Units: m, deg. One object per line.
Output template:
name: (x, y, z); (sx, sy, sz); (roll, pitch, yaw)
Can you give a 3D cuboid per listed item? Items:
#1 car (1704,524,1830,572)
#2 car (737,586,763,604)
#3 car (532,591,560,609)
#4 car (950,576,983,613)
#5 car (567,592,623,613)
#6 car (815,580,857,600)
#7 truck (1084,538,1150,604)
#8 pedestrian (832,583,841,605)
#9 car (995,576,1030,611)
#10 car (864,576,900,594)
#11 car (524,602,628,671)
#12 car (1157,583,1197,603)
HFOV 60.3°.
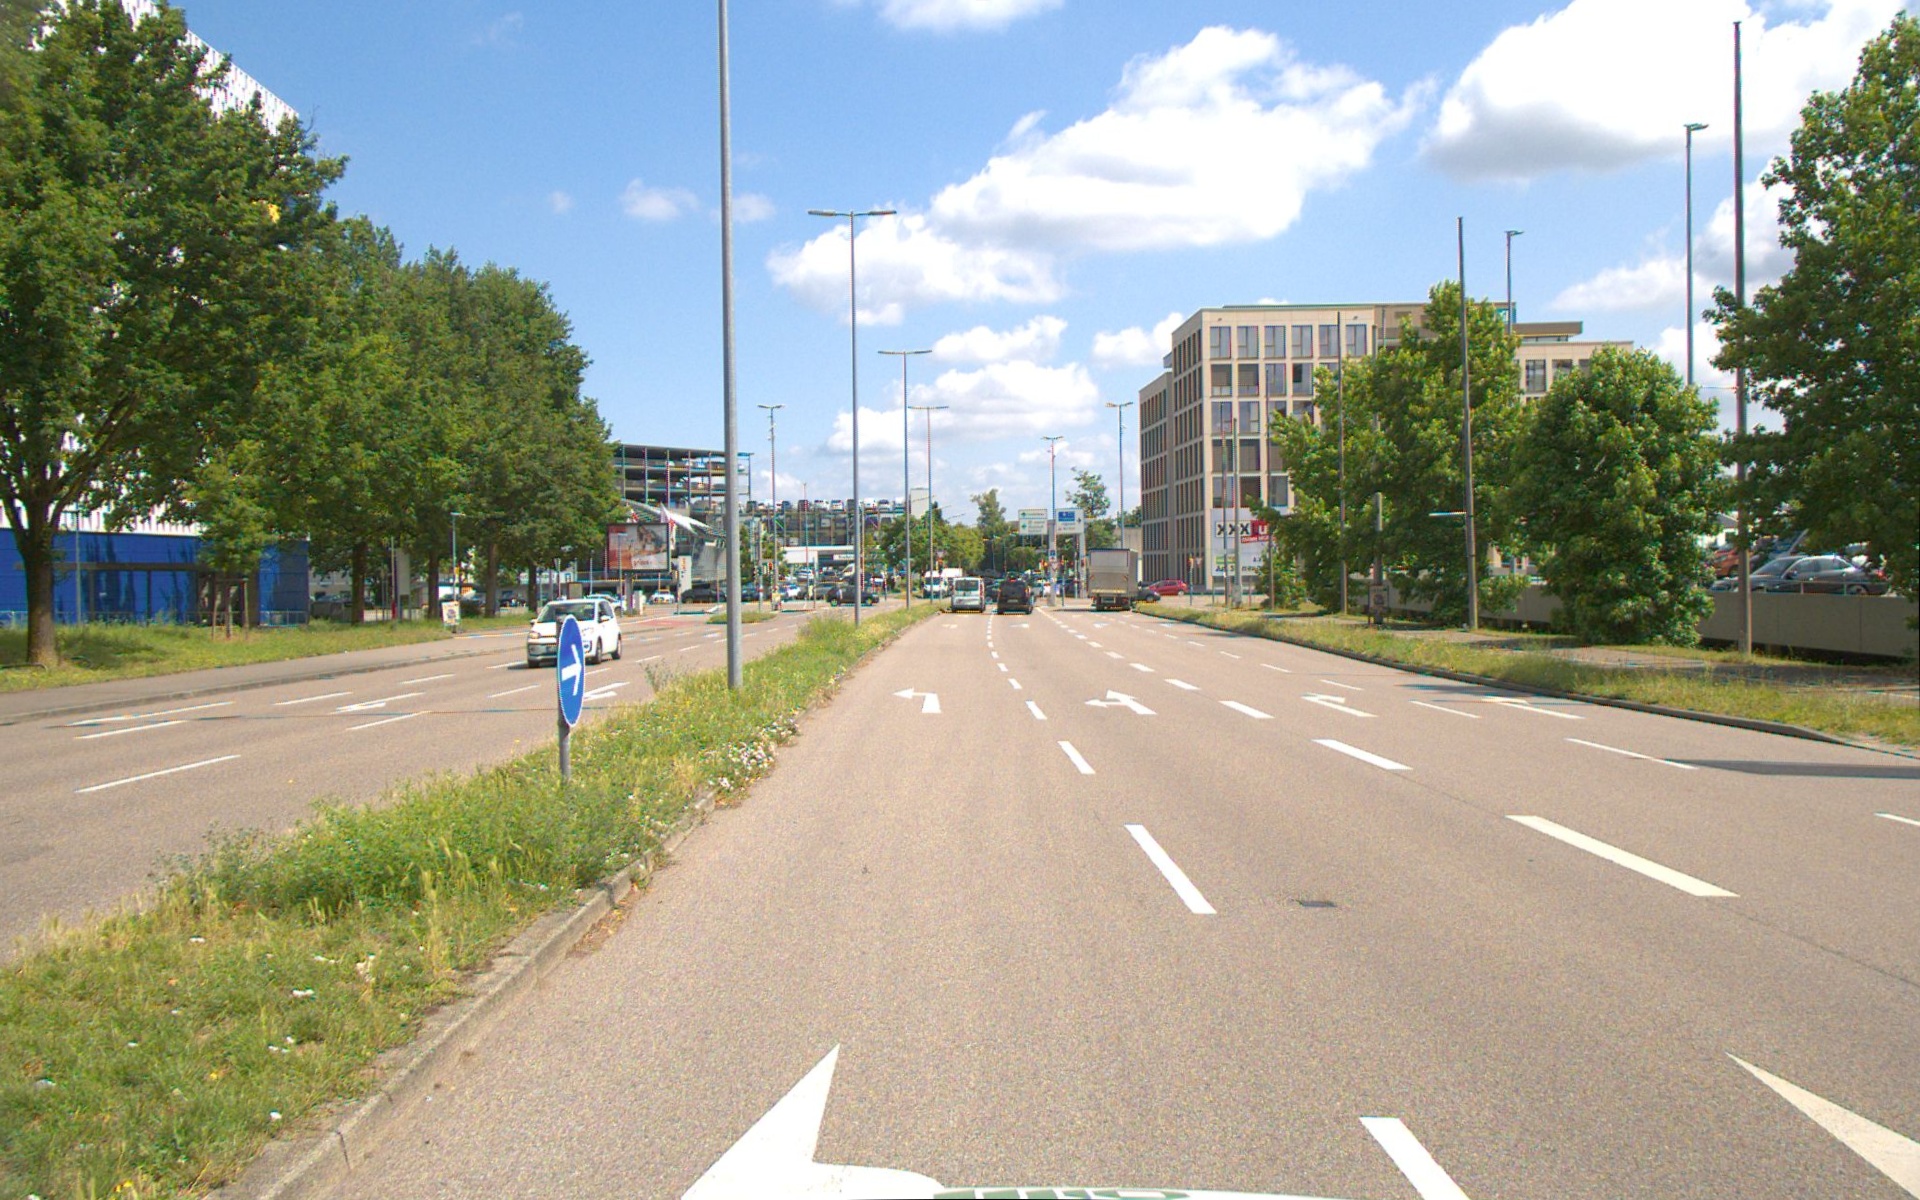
car: (38.309, -2.453, 78.553); (5.056, 2.234, 1.986); (0, 0, -1)
car: (-19.008, -0.453, 149.782); (1.787, 1.579, 3.983); (0, 0, -15)
car: (-36.856, -0.018, 147.246); (1.693, 1.512, 3.700); (0, 1, -2)
car: (0.368, -0.360, 94.976); (1.818, 2.053, 4.000); (0, 1, -1)
car: (-27.078, 0.149, 122.722); (3.774, 1.492, 1.695); (-1, 1, -3)
car: (-11.563, -0.905, 154.068); (3.784, 1.668, 1.857); (-2, 1, -3)
truck: (10.045, -1.861, 104.957); (3.063, 4.009, 8.867); (0, 1, 12)
pedestrian: (-8.669, -0.399, 116.277); (0.460, 1.538, 0.511); (0, 0, 26)
car: (2.896, -0.373, 90.541); (1.781, 1.840, 4.002); (0, 1, 4)
car: (-8.781, -1.675, 185.600); (3.909, 1.959, 1.825); (0, 0, -5)
car: (-8.845, 0.805, 38.338); (1.610, 1.453, 3.669); (-2, 0, -2)
car: (18.318, -0.611, 139.529); (3.206, 1.429, 1.335); (0, 9, -1)
